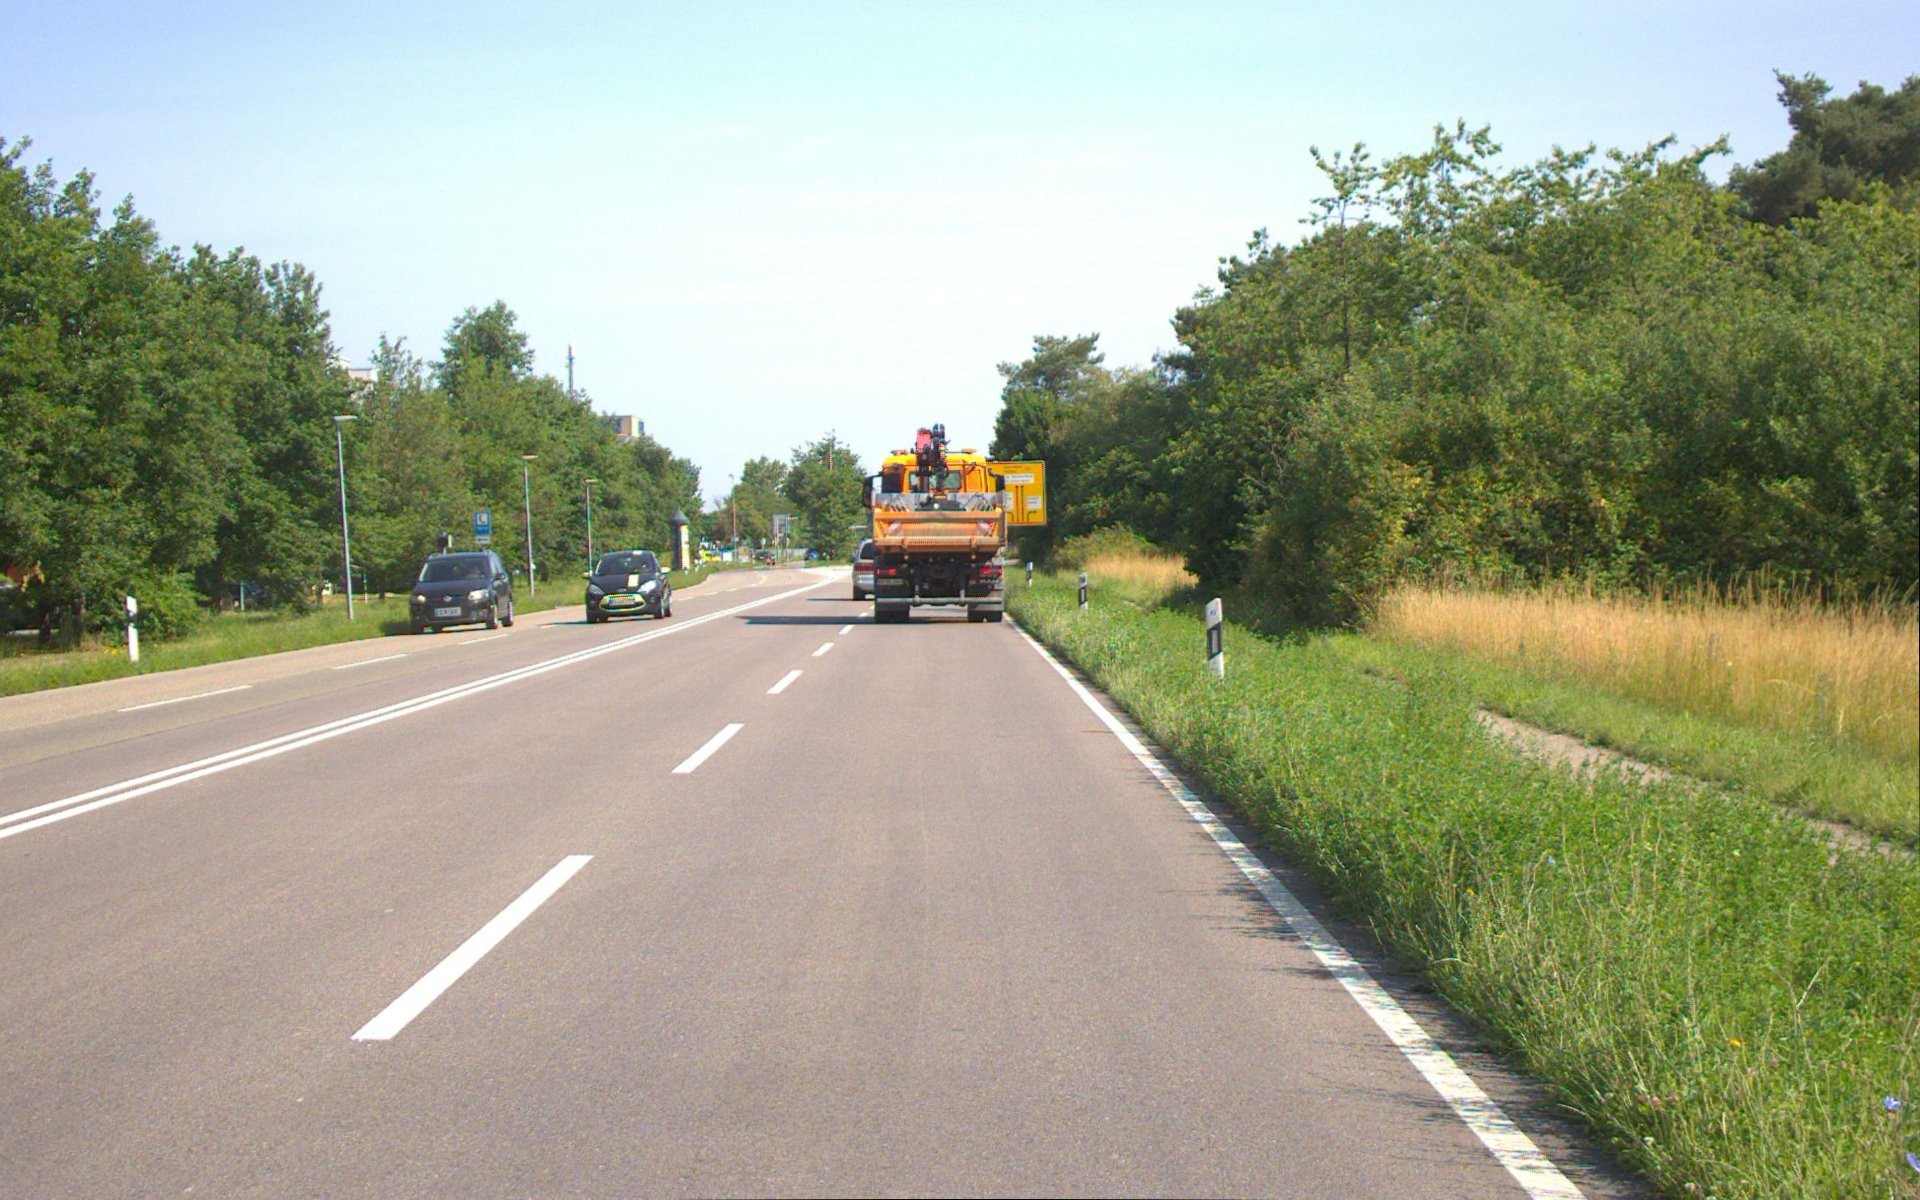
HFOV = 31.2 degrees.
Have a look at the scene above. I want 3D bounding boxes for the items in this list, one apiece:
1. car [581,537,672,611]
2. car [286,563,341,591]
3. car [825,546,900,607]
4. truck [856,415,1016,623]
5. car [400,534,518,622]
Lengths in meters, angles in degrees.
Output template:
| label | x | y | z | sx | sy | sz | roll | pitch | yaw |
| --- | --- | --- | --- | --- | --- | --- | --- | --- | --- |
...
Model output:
| label | x | y | z | sx | sy | sz | roll | pitch | yaw |
| --- | --- | --- | --- | --- | --- | --- | --- | --- | --- |
| car | -7.100 | -0.585 | 73.460 | 1.517 | 1.445 | 3.775 | -4 | 1 | 0 |
| car | -36.330 | -1.303 | 193.305 | 1.993 | 1.432 | 4.955 | -2 | 1 | 1 |
| car | -2.709 | -0.669 | 94.692 | 1.993 | 1.578 | 4.001 | -1 | 1 | -2 |
| truck | -0.563 | -1.575 | 67.922 | 2.871 | 3.867 | 7.401 | 0 | 1 | -2 |
| car | -10.438 | -0.481 | 71.851 | 1.825 | 1.666 | 4.390 | -4 | 1 | -1 |
